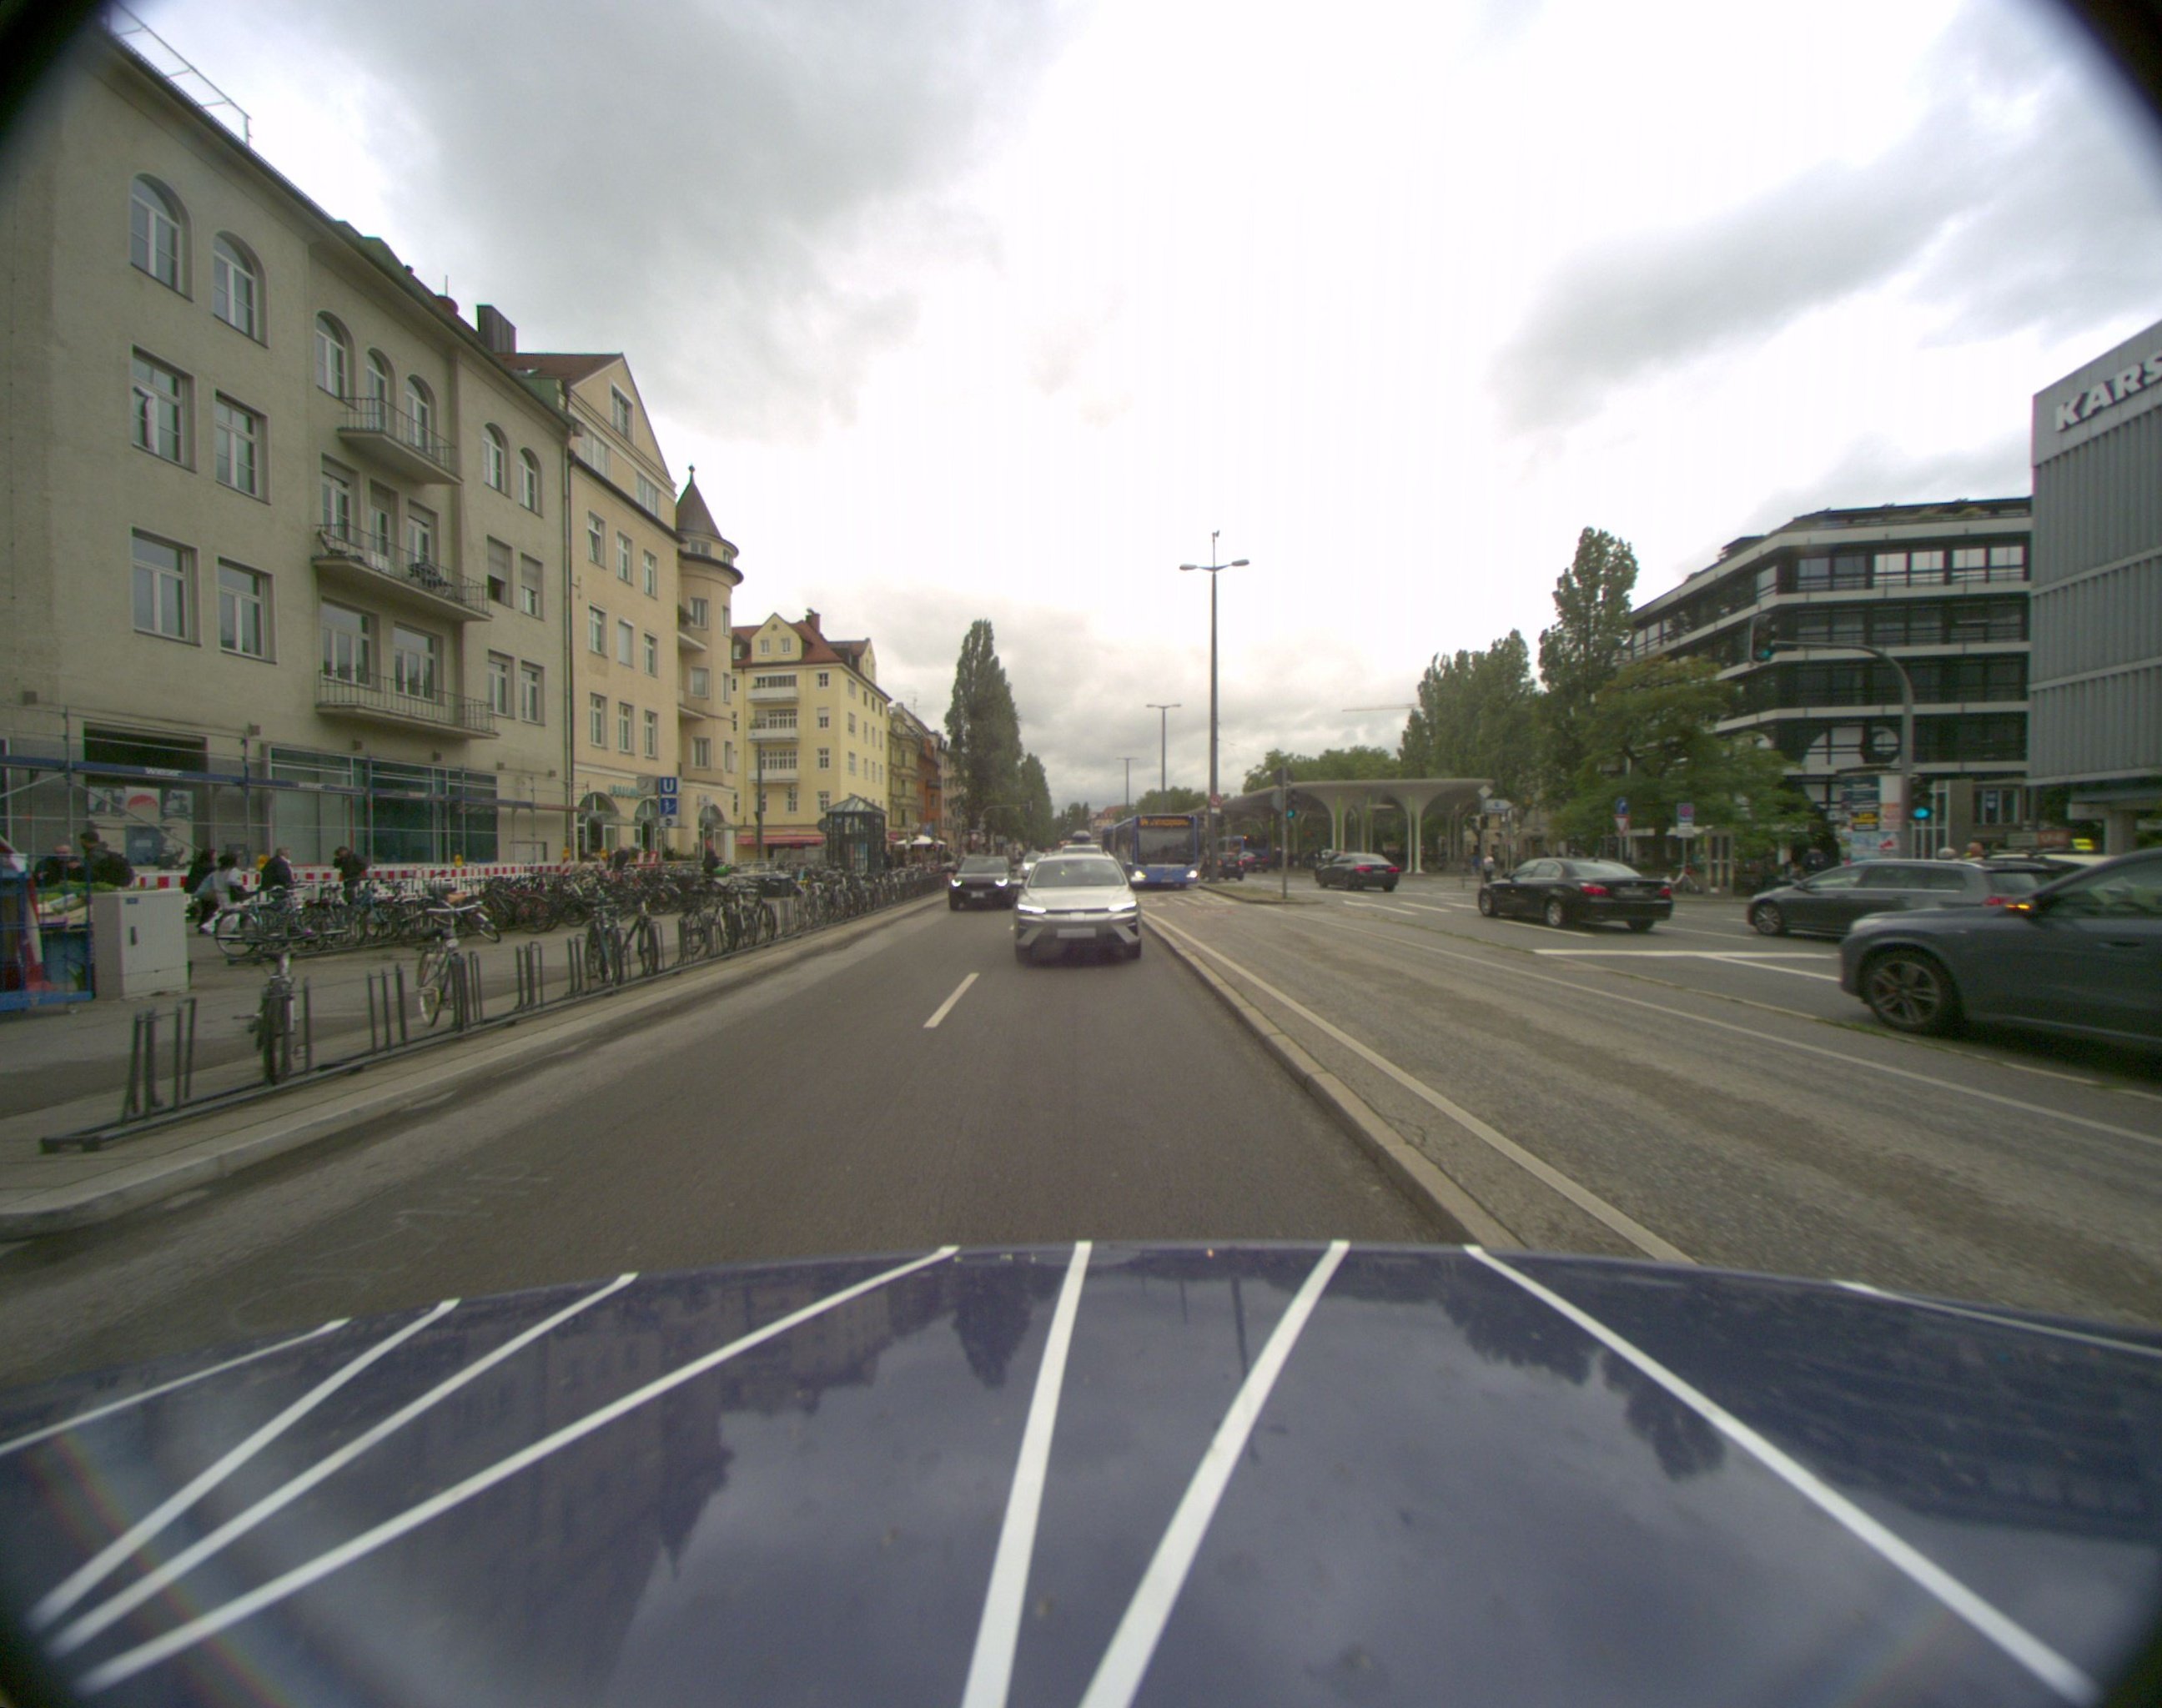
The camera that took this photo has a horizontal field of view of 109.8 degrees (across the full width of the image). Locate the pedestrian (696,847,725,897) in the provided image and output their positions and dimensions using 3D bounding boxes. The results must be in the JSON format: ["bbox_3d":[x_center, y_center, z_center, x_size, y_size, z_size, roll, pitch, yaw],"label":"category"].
[{"bbox_3d":[-12.949,0.614,26.569,0.741,1.698,0.703,-1,1,-41],"label":"pedestrian"}]

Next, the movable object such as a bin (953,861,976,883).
[{"bbox_3d":[-5.986,0.923,39.029,1.089,1.056,0.747,2,2,-3],"label":"movable object such as a bin"}]

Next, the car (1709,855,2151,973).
[{"bbox_3d":[13.619,0.821,12.839,1.964,1.537,4.947,0,1,1],"label":"car"}]

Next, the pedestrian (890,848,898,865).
[{"bbox_3d":[-18.536,0.239,75.294,0.552,1.675,0.585,0,1,1],"label":"pedestrian"}]

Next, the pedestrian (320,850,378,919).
[{"bbox_3d":[-17.727,0.719,18.413,0.564,1.622,0.835,0,1,3],"label":"pedestrian"}]

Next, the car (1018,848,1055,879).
[{"bbox_3d":[-2.733,0.530,47.398,1.998,1.740,3.999,-2,1,0],"label":"car"}]

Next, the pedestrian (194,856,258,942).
[{"bbox_3d":[-15.810,0.824,14.060,0.560,1.531,0.466,-2,2,1],"label":"pedestrian"}]

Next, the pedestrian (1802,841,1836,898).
[{"bbox_3d":[23.267,0.491,23.965,0.562,1.768,0.510,-2,2,3],"label":"pedestrian"}]

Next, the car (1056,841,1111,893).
[{"bbox_3d":[0.120,0.449,30.781,1.998,1.889,4.234,-2,1,0],"label":"car"}]

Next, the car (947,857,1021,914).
[{"bbox_3d":[-2.773,0.864,22.556,1.740,1.462,4.049,-1,1,-1],"label":"car"}]

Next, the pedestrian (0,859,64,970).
[{"bbox_3d":[-15.156,0.831,10.687,0.678,1.519,0.729,0,1,2],"label":"pedestrian"}]

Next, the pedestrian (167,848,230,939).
[{"bbox_3d":[-16.447,0.723,14.165,0.526,1.663,0.472,-1,2,6],"label":"pedestrian"}]

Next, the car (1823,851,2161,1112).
[{"bbox_3d":[7.759,0.824,4.726,1.998,1.611,4.413,1,1,2],"label":"car"}]

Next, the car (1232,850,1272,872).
[{"bbox_3d":[13.238,0.513,58.948,1.999,1.567,4.615,0,1,-1],"label":"car"}]

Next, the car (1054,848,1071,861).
[{"bbox_3d":[-2.276,0.060,93.390,1.999,1.630,3.999,0,1,-2],"label":"car"}]

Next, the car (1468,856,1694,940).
[{"bbox_3d":[10.385,0.817,16.321,1.840,1.478,4.734,0,0,2],"label":"car"}]

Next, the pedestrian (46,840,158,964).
[{"bbox_3d":[-14.841,0.698,11.549,0.718,1.818,0.728,0,1,-14],"label":"pedestrian"}]

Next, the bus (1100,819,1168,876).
[{"bbox_3d":[2.918,-0.456,45.556,2.942,2.927,11.209,-1,1,-2],"label":"bus"}]

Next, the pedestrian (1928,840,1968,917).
[{"bbox_3d":[18.941,0.523,16.602,0.365,1.646,0.425,-2,2,0],"label":"pedestrian"}]

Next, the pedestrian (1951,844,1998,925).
[{"bbox_3d":[19.520,0.654,16.603,0.525,1.719,0.428,-2,2,0],"label":"pedestrian"}]

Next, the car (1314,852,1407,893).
[{"bbox_3d":[11.403,0.694,31.435,1.998,1.499,5.021,0,0,0],"label":"car"}]

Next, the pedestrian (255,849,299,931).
[{"bbox_3d":[-16.689,0.734,15.775,0.539,1.665,0.506,0,2,38],"label":"pedestrian"}]

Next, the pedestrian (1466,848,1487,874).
[{"bbox_3d":[26.779,0.462,51.477,0.861,1.767,0.980,0,1,1],"label":"pedestrian"}]

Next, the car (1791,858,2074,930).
[{"bbox_3d":[20.751,0.887,18.827,1.860,1.502,4.292,0,1,-14],"label":"car"}]

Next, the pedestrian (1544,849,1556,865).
[{"bbox_3d":[49.338,0.290,79.904,0.800,1.714,0.827,0,1,11],"label":"pedestrian"}]

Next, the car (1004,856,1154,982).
[{"bbox_3d":[0.015,0.848,11.790,1.896,1.483,3.999,-2,1,1],"label":"car"}]

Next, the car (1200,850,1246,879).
[{"bbox_3d":[7.838,0.546,42.182,1.562,1.498,2.785,0,1,-13],"label":"car"}]

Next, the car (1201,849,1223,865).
[{"bbox_3d":[12.841,0.307,74.509,1.674,1.506,2.746,0,1,-2],"label":"car"}]

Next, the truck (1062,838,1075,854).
[{"bbox_3d":[-2.782,-1.868,169.389,2.541,3.468,7.750,0,1,0],"label":"truck"}]

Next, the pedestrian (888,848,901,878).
[{"bbox_3d":[-10.828,0.510,44.119,0.641,1.767,0.609,-1,1,-23],"label":"pedestrian"}]

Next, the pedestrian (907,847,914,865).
[{"bbox_3d":[-16.020,0.226,71.407,0.552,1.675,0.585,0,1,1],"label":"pedestrian"}]

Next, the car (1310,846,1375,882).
[{"bbox_3d":[13.689,0.481,40.086,1.998,1.767,4.599,0,1,2],"label":"car"}]

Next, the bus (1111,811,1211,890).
[{"bbox_3d":[3.250,-0.244,34.328,2.942,2.927,11.209,-1,1,-2],"label":"bus"}]

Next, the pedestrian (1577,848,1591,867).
[{"bbox_3d":[44.648,0.319,67.449,0.834,1.689,0.906,0,1,22],"label":"pedestrian"}]

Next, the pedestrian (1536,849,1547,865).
[{"bbox_3d":[48.374,0.320,79.799,0.800,1.714,0.827,0,1,11],"label":"pedestrian"}]

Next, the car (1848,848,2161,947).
[{"bbox_3d":[17.927,0.701,14.705,1.591,1.603,4.476,0,1,0],"label":"car"}]

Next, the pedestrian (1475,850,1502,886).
[{"bbox_3d":[17.750,0.609,33.103,0.640,1.543,0.759,-2,2,-25],"label":"pedestrian"}]

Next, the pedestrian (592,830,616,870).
[{"bbox_3d":[-18.682,-0.176,29.751,0.589,1.533,0.567,1,3,29],"label":"pedestrian"}]

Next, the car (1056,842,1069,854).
[{"bbox_3d":[-2.820,-0.933,115.341,1.859,1.696,3.999,1,1,-1],"label":"car"}]

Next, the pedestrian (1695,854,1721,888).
[{"bbox_3d":[31.390,0.845,38.035,0.765,1.725,0.648,0,1,-7],"label":"pedestrian"}]

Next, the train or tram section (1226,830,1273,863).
[{"bbox_3d":[16.173,-0.700,73.358,2.840,2.983,7.406,0,1,0],"label":"train or tram section"}]

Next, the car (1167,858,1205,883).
[{"bbox_3d":[6.428,0.988,46.805,1.628,1.471,3.387,1,0,-4],"label":"car"}]

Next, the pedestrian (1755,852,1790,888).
[{"bbox_3d":[25.160,0.563,27.666,0.544,1.301,0.774,0,1,1],"label":"pedestrian"}]

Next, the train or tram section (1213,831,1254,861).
[{"bbox_3d":[16.154,-0.845,80.778,2.840,2.983,7.406,0,1,0],"label":"train or tram section"}]
